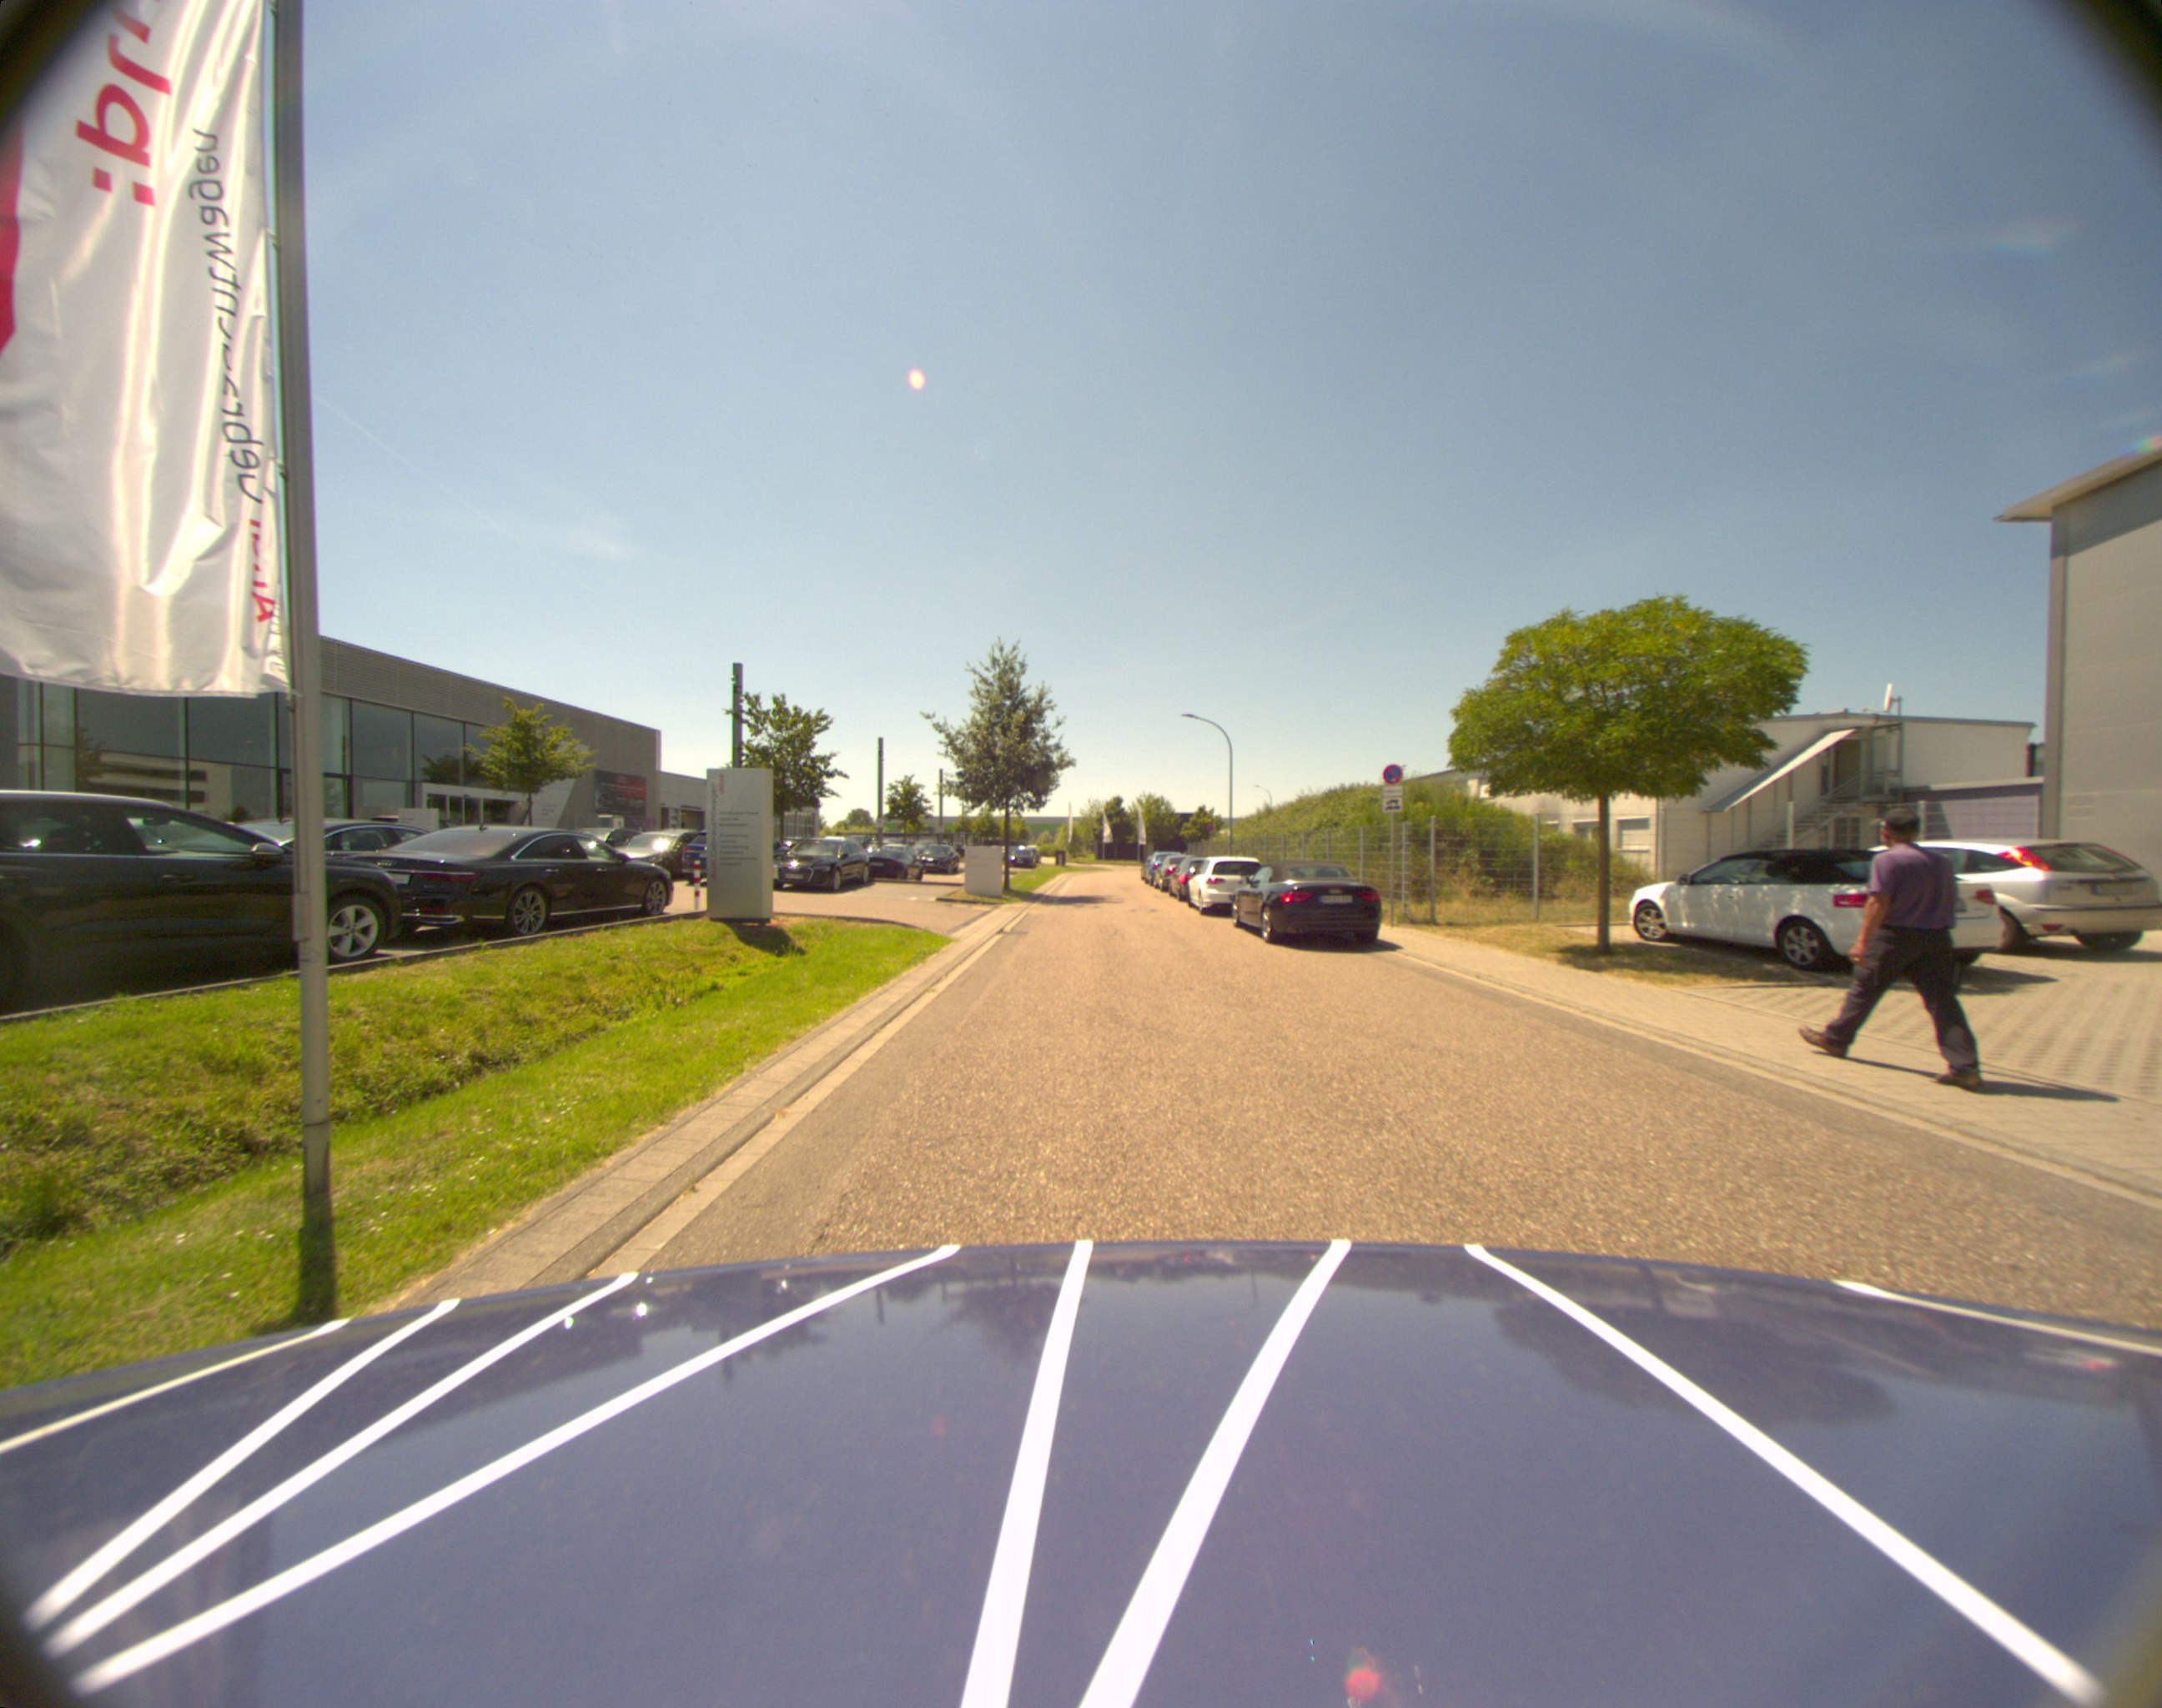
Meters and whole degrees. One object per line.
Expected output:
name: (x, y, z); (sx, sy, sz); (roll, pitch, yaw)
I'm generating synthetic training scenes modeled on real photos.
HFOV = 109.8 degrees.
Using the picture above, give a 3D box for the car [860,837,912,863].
car: (-12.306, -0.260, 48.305); (1.966, 1.544, 5.005); (2, 1, 0)

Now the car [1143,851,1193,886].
car: (4.085, 0.651, 36.345); (1.829, 1.561, 4.386); (1, 1, 0)

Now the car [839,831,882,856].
car: (-17.178, -0.814, 59.487); (1.966, 1.732, 4.625); (4, 1, 0)

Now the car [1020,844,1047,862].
car: (-4.121, -0.078, 66.504); (1.966, 1.459, 4.944); (2, 1, 0)

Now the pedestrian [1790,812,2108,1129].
pedestrian: (5.463, 0.665, 4.887); (0.746, 1.791, 1.135); (-2, 1, 3)

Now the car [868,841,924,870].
car: (-10.043, 0.063, 41.635); (1.966, 1.358, 4.227); (3, 1, 0)

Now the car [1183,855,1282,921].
car: (3.839, 0.797, 19.978); (1.829, 1.491, 4.259); (1, 1, 1)

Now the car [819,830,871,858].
car: (-14.900, -0.631, 48.206); (1.966, 1.604, 4.288); (2, 1, 0)

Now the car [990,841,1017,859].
car: (-6.820, -0.352, 67.007); (1.824, 1.520, 4.944); (2, 1, 0)

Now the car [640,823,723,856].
car: (-21.740, -0.759, 41.608); (1.966, 1.582, 4.428); (3, 1, 3)

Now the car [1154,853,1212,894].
car: (4.074, 0.736, 30.953); (1.829, 1.491, 4.520); (1, 1, 1)

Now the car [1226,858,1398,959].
car: (4.009, 0.857, 14.025); (1.829, 1.491, 4.525); (1, 1, 1)

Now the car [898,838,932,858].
car: (-14.482, -0.492, 66.583); (1.966, 1.620, 4.625); (2, 1, 0)

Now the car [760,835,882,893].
car: (-7.778, 0.224, 23.295); (1.966, 1.448, 4.984); (2, 2, 1)

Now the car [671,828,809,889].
car: (-10.372, 0.042, 23.625); (1.966, 1.589, 4.984); (2, 2, 1)

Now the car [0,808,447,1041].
car: (-8.223, 0.434, 6.183); (2.030, 1.564, 4.779); (2, 1, 1)

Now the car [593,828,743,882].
car: (-12.796, -0.049, 23.974); (1.966, 1.448, 4.984); (2, 2, 1)

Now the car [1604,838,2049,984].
car: (9.353, 0.585, 10.182); (1.828, 1.491, 4.328); (-2, 0, 3)

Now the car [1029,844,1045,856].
car: (-6.130, -0.587, 106.296); (1.823, 1.637, 4.396); (2, 1, 3)

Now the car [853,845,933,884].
car: (-7.523, 0.415, 30.982); (1.966, 1.358, 4.721); (3, -1, 1)

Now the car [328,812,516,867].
car: (-21.991, -0.544, 25.717); (1.966, 1.612, 4.984); (2, 2, 1)

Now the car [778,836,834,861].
car: (-17.426, -0.363, 48.326); (1.966, 1.468, 4.371); (2, 1, 0)

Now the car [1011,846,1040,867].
car: (-4.270, 0.189, 59.366); (1.884, 1.446, 5.023); (3, 0, 0)

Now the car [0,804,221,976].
car: (-10.916, 0.306, 6.328); (2.030, 1.580, 4.779); (2, 1, 1)

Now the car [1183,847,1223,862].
car: (13.929, 0.051, 87.031); (4.280, 1.592, 1.780); (-1, 1, 0)

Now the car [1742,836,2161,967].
car: (12.299, 0.542, 11.028); (1.828, 1.491, 4.259); (-2, 0, 3)

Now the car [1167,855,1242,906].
car: (4.004, 0.797, 25.238); (1.829, 1.491, 4.520); (1, 1, 1)

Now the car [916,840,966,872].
car: (-7.606, 0.104, 41.607); (1.892, 1.562, 4.227); (3, 1, 0)

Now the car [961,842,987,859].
car: (-10.959, -0.380, 78.364); (1.966, 1.620, 4.625); (2, 1, 0)

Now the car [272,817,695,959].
car: (-8.183, 0.369, 11.323); (2.030, 1.506, 5.239); (3, 1, 1)

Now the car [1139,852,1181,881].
car: (4.267, 0.664, 41.610); (1.829, 1.446, 4.580); (1, 1, 0)

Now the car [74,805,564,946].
car: (-10.856, 0.232, 11.694); (1.901, 1.564, 5.475); (3, 1, 1)

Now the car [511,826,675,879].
car: (-15.283, -0.135, 24.225); (1.966, 1.448, 4.984); (2, 2, 1)
